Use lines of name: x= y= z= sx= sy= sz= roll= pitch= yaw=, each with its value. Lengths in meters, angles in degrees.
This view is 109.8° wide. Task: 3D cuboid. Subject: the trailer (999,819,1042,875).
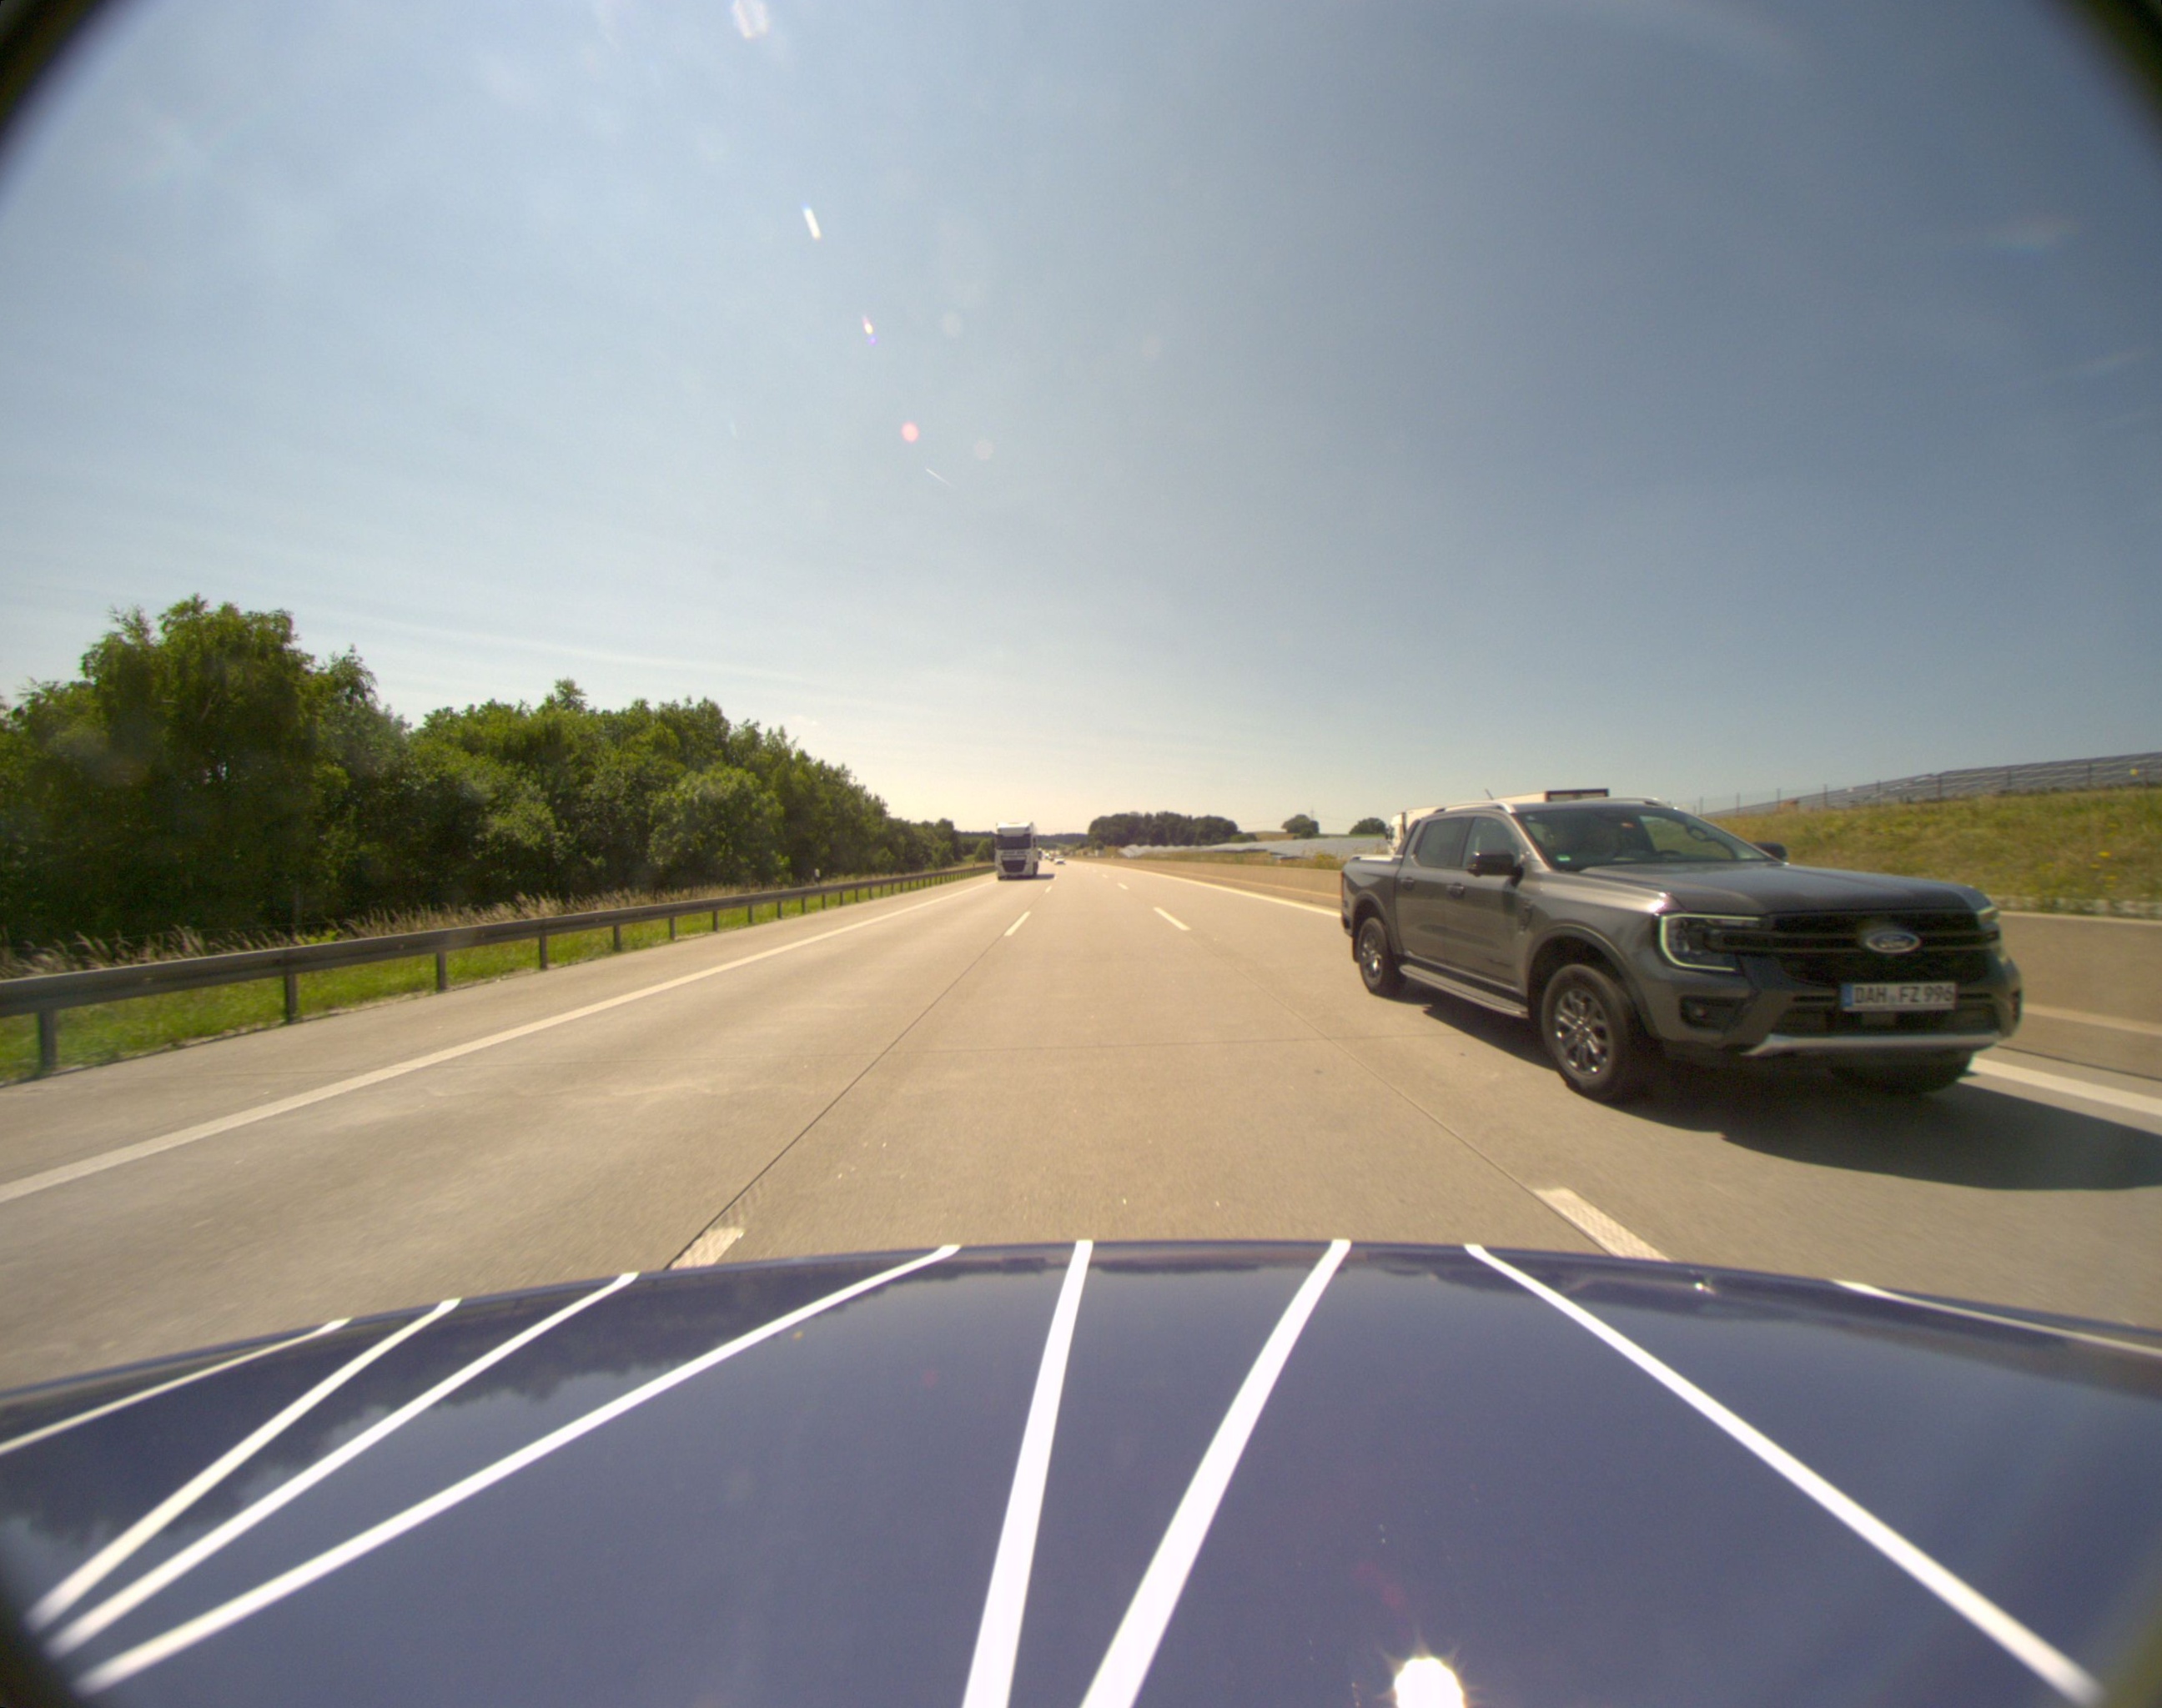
trailer: x=-4.719 y=-0.519 z=61.576 sx=2.860 sy=4.019 sz=12.709 roll=-2 pitch=0 yaw=-2

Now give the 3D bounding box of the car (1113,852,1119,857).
car: x=11.450 y=0.256 z=249.203 sx=1.630 sy=1.474 sz=3.998 roll=-2 pitch=1 yaw=-3

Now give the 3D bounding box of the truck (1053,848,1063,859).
truck: x=-5.828 y=-0.109 z=189.290 sx=2.263 sy=2.461 sz=6.612 roll=-2 pitch=0 yaw=-3

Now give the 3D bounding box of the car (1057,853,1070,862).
car: x=-2.981 y=0.609 z=130.527 sx=2.065 sy=1.472 sz=5.067 roll=-2 pitch=0 yaw=-3

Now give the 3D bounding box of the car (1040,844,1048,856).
car: x=-12.774 y=-1.481 z=260.806 sx=2.767 sy=4.029 sz=10.848 roll=-1 pitch=0 yaw=-3

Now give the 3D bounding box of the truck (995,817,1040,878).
truck: x=-4.437 y=-0.472 z=54.199 sx=2.820 sy=4.064 sz=5.797 roll=-2 pitch=0 yaw=-2

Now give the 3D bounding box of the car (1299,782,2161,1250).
car: x=3.747 y=0.629 z=6.337 sx=1.998 sy=1.836 sz=6.529 roll=-2 pitch=1 yaw=1

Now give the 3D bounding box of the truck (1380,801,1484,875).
truck: x=20.653 y=-0.890 z=45.251 sx=2.998 sy=4.037 sz=6.868 roll=-1 pitch=0 yaw=0

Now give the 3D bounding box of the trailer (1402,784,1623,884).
trailer: x=20.624 y=-0.846 z=38.115 sx=3.013 sy=4.037 sz=14.176 roll=-1 pitch=0 yaw=0
